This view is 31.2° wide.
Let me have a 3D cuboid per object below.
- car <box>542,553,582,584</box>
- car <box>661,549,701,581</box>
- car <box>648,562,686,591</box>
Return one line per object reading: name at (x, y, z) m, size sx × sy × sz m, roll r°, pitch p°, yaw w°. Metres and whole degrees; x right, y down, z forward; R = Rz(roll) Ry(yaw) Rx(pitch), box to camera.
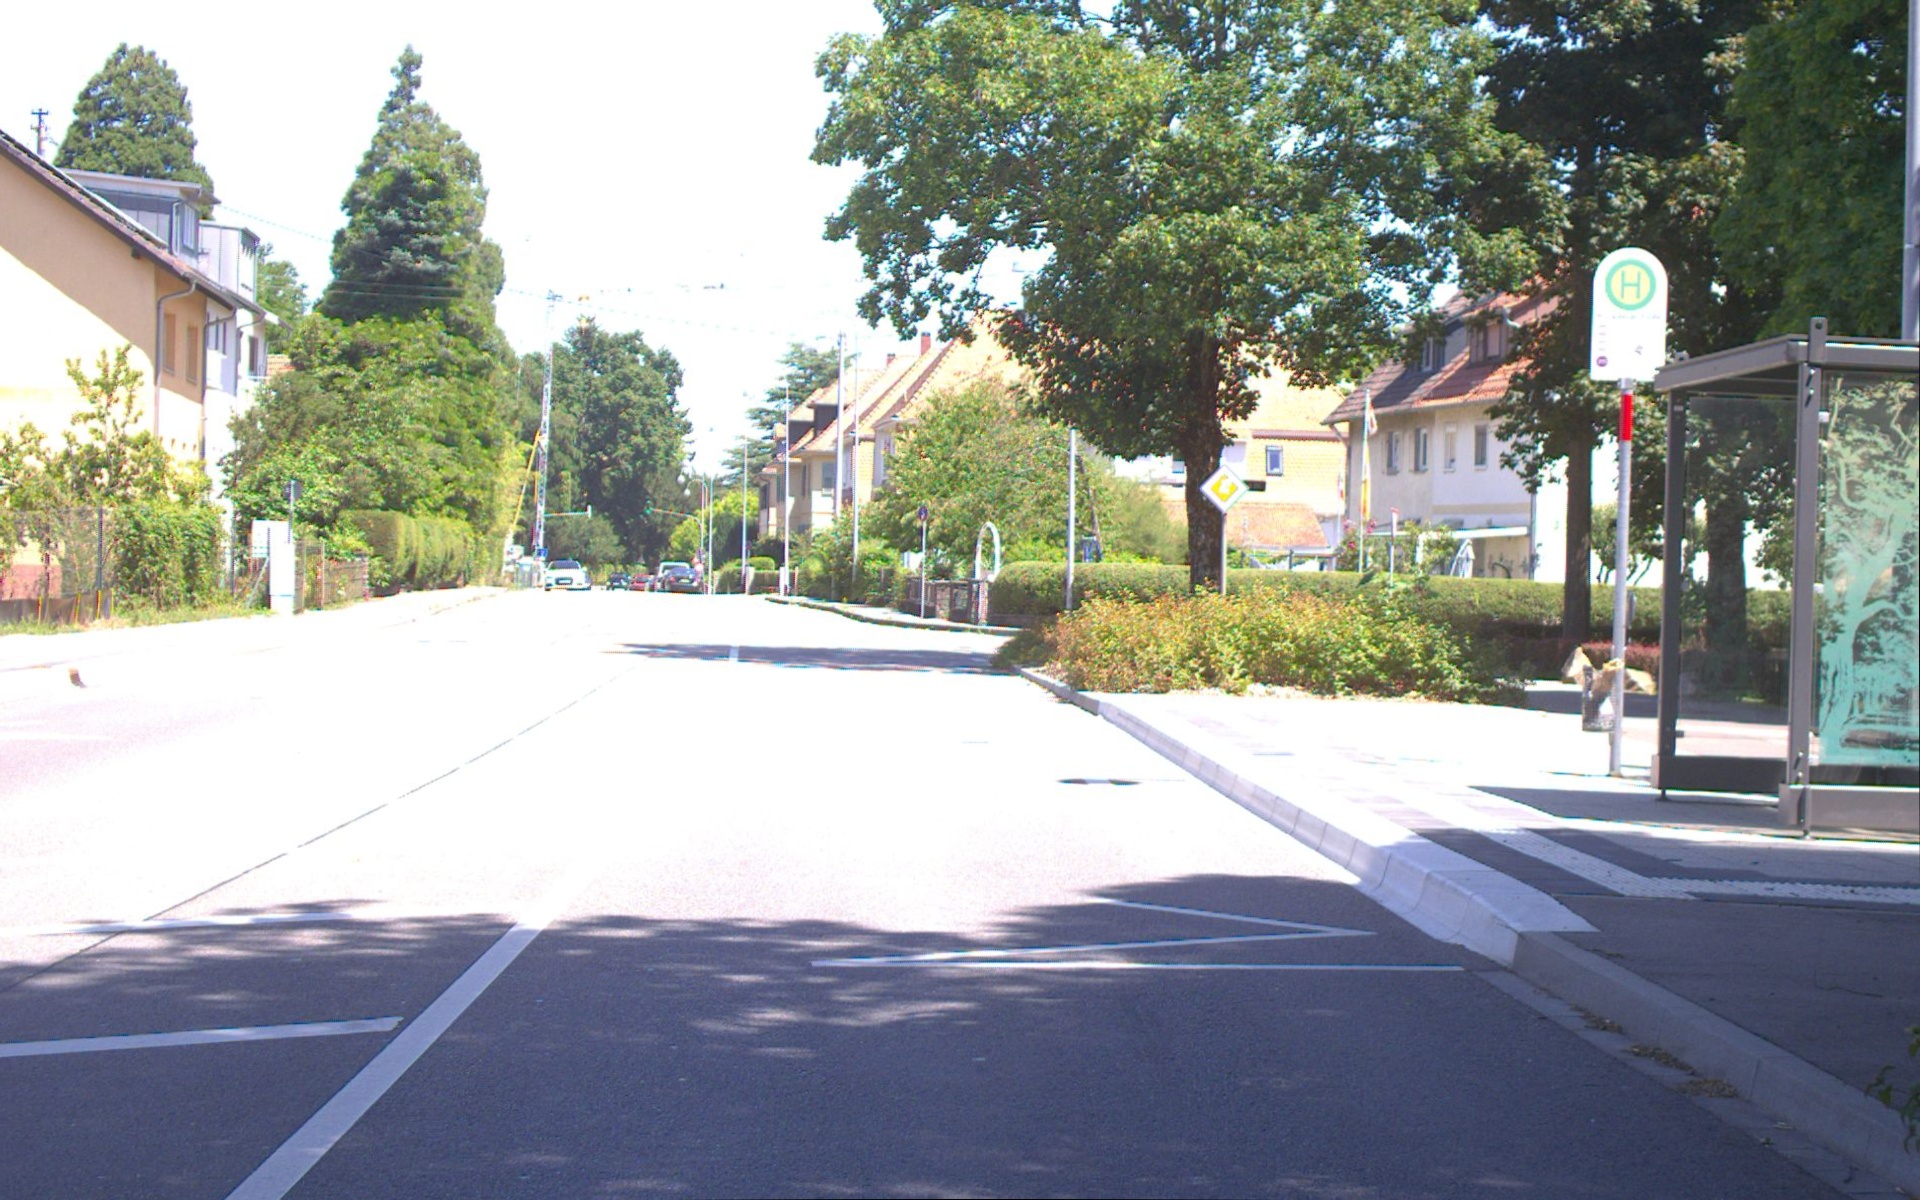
car at (-17.926, -1.420, 154.972) m, size 1.680 × 1.368 × 4.207 m, roll 0°, pitch 1°, yaw -5°
car at (-13.761, -1.708, 169.314) m, size 1.692 × 1.414 × 4.552 m, roll 2°, pitch -1°, yaw -7°
car at (-15.250, -1.206, 178.910) m, size 1.692 × 1.414 × 4.552 m, roll 2°, pitch -1°, yaw -7°
